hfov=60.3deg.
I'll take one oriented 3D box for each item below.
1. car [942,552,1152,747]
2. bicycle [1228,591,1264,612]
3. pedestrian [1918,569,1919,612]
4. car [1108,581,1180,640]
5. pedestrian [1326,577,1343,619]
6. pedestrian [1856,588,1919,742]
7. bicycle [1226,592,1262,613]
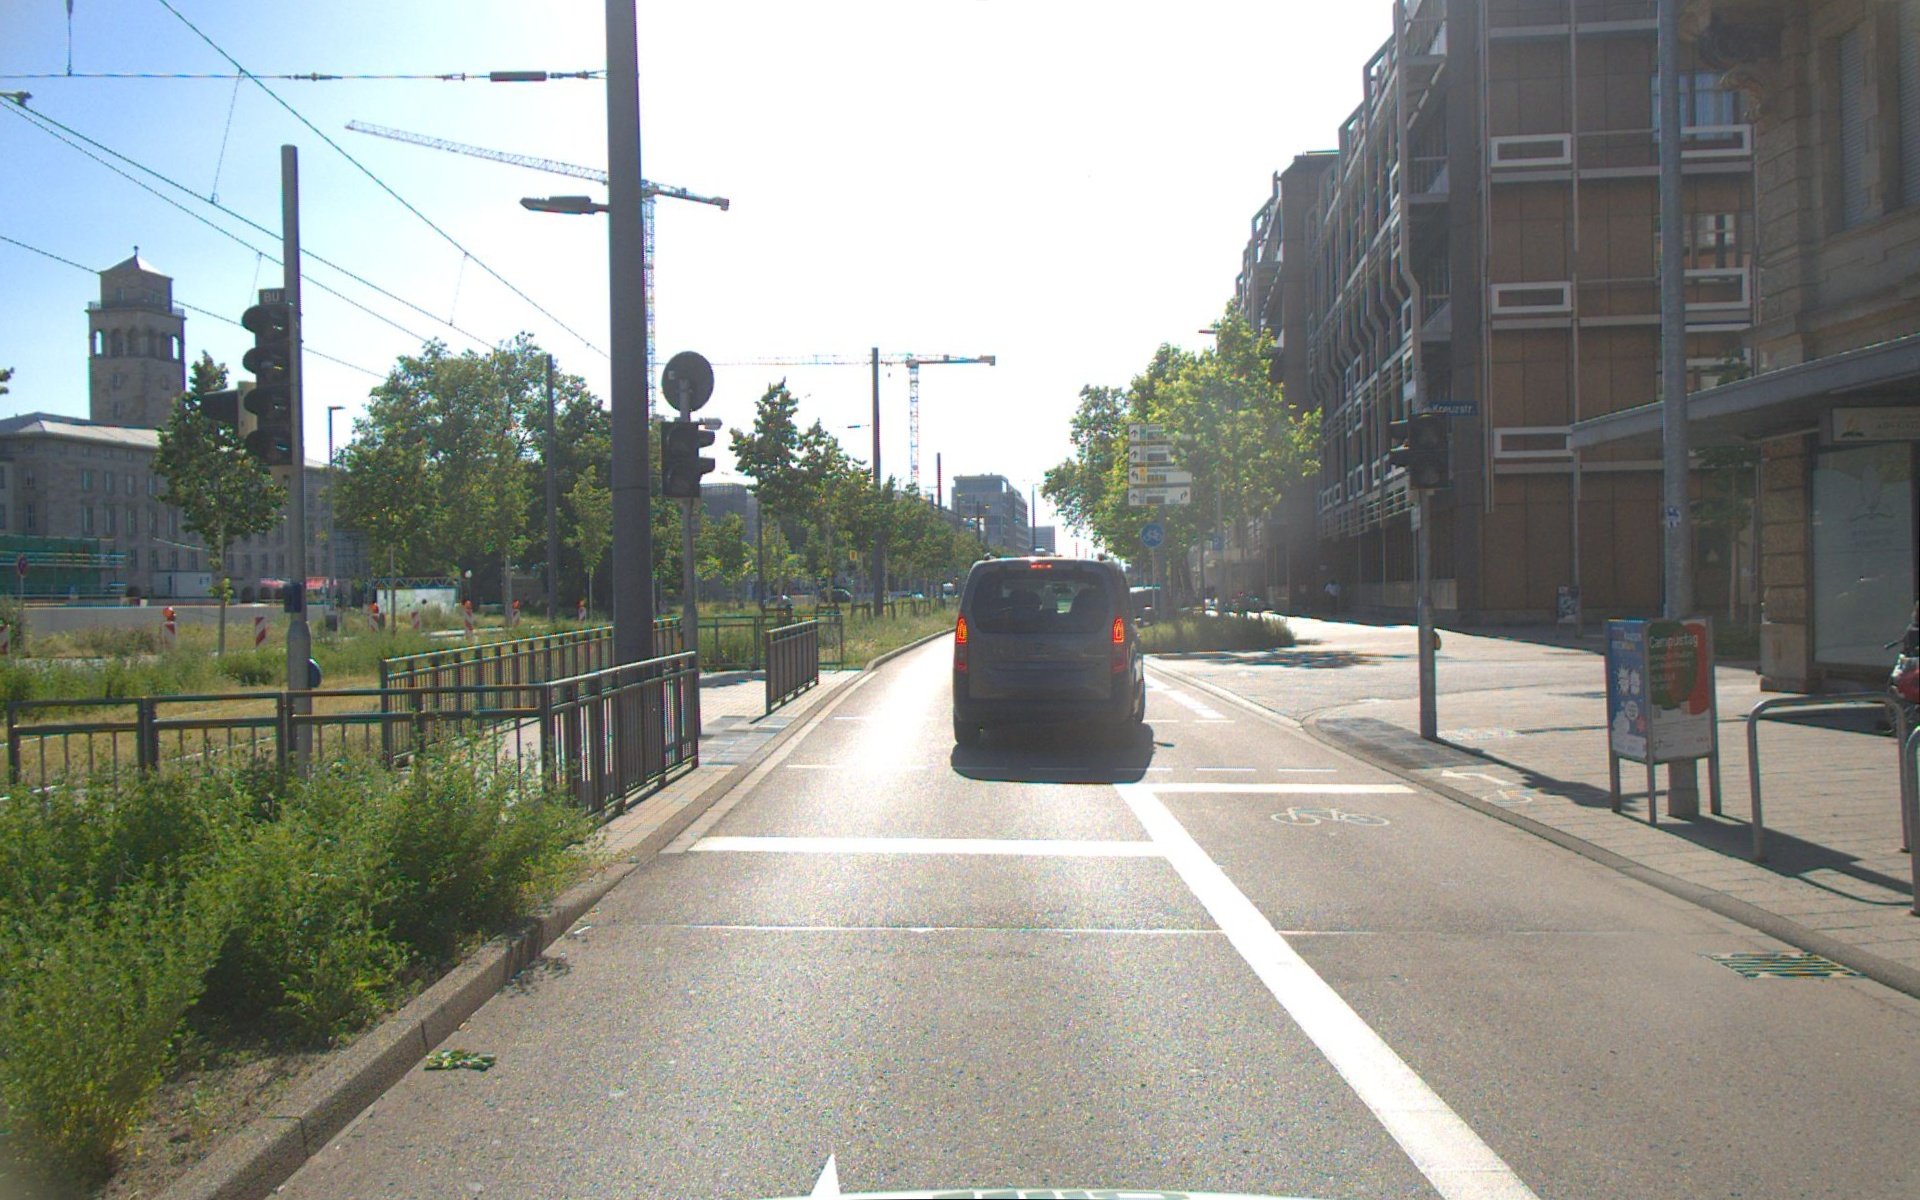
[{"bbox_3d":[1.036,0.454,17.391,1.773,1.783,4.171,-1,0,9],"label":"car"},{"bbox_3d":[14.877,0.079,86.116,1.818,0.955,0.427,-3,0,8],"label":"bicycle"},{"bbox_3d":[8.139,0.442,13.174,0.561,1.418,0.648,-3,0,-3],"label":"pedestrian"},{"bbox_3d":[5.495,0.302,49.944,1.711,1.688,4.470,-1,0,1],"label":"car"},{"bbox_3d":[15.186,-0.077,67.038,0.500,1.651,0.674,-3,0,6],"label":"pedestrian"},{"bbox_3d":[8.052,0.525,13.851,0.701,1.239,0.647,-3,-1,4],"label":"pedestrian"},{"bbox_3d":[14.982,0.124,87.283,1.818,1.028,0.427,-3,0,8],"label":"bicycle"}]
